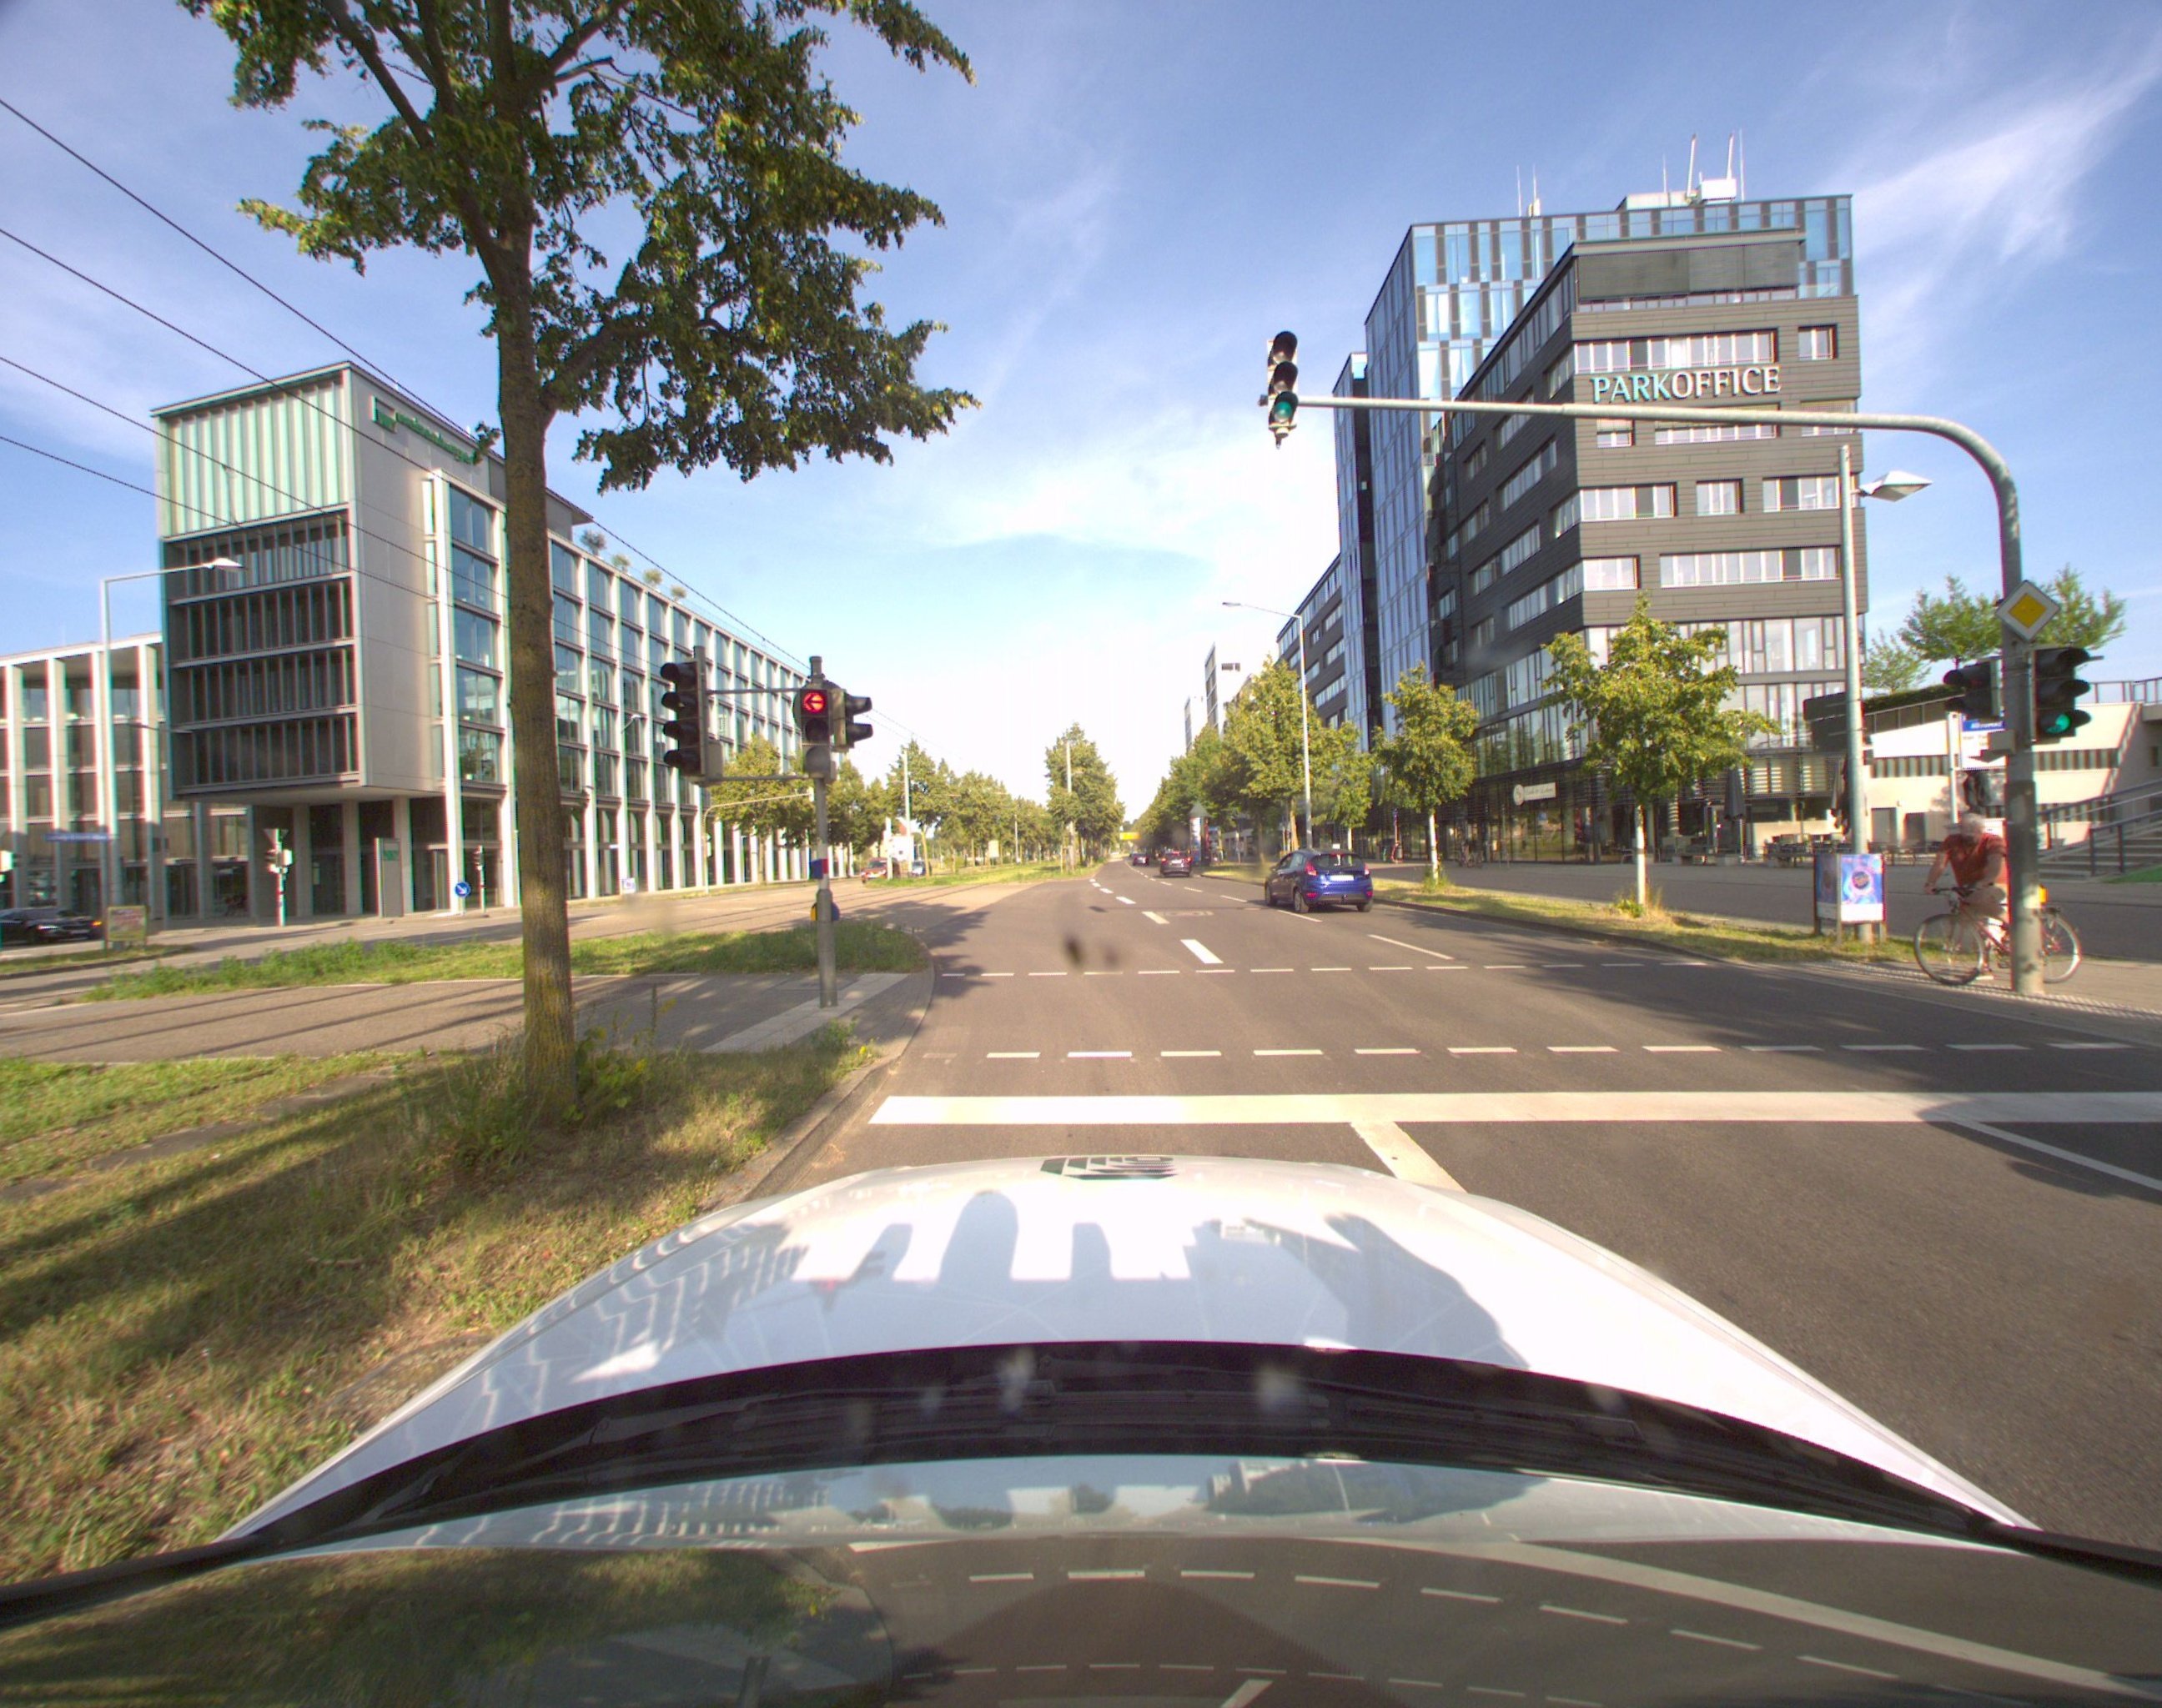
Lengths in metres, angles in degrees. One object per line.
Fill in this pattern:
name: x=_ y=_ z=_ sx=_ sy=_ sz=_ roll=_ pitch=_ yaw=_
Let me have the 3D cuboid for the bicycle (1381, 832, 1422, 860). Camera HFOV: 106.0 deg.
bicycle: x=21.752 y=-0.562 z=55.350 sx=2.547 sy=1.857 sz=0.571 roll=-1 pitch=0 yaw=11

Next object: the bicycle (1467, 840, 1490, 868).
bicycle: x=20.263 y=0.006 z=41.540 sx=0.371 sy=1.346 sz=1.895 roll=-1 pitch=-1 yaw=3

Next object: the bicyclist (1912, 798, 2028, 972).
bicyclist: x=9.046 y=0.304 z=8.301 sx=0.573 sy=1.707 sz=0.541 roll=-1 pitch=0 yaw=0

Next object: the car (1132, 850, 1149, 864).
car: x=6.764 y=0.321 z=92.457 sx=1.852 sy=1.524 sz=3.788 roll=-1 pitch=0 yaw=3

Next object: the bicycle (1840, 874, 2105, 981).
bicycle: x=9.062 y=0.728 z=8.315 sx=2.128 sy=1.013 sz=0.571 roll=-1 pitch=0 yaw=-2

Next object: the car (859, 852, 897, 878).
car: x=-14.102 y=0.745 z=56.792 sx=1.679 sy=1.775 sz=3.880 roll=-1 pitch=0 yaw=-1

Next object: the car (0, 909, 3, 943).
car: x=-47.499 y=3.042 z=34.135 sx=3.638 sy=1.424 sz=1.582 roll=-1 pitch=0 yaw=16

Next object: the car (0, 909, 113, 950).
car: x=-40.509 y=2.945 z=32.081 sx=3.478 sy=1.424 sz=1.580 roll=-1 pitch=0 yaw=12

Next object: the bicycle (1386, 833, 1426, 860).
bicycle: x=21.676 y=-0.476 z=54.344 sx=2.419 sy=1.746 sz=0.556 roll=-1 pitch=0 yaw=11

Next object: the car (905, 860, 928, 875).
car: x=-16.541 y=1.376 z=82.070 sx=1.634 sy=1.443 sz=3.954 roll=-1 pitch=0 yaw=-1

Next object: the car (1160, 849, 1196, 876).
car: x=5.312 y=0.448 z=44.981 sx=1.766 sy=1.424 sz=3.965 roll=-1 pitch=0 yaw=4

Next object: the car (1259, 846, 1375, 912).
car: x=5.536 y=0.523 z=19.588 sx=1.556 sy=1.424 sz=3.905 roll=0 pitch=1 yaw=-2
